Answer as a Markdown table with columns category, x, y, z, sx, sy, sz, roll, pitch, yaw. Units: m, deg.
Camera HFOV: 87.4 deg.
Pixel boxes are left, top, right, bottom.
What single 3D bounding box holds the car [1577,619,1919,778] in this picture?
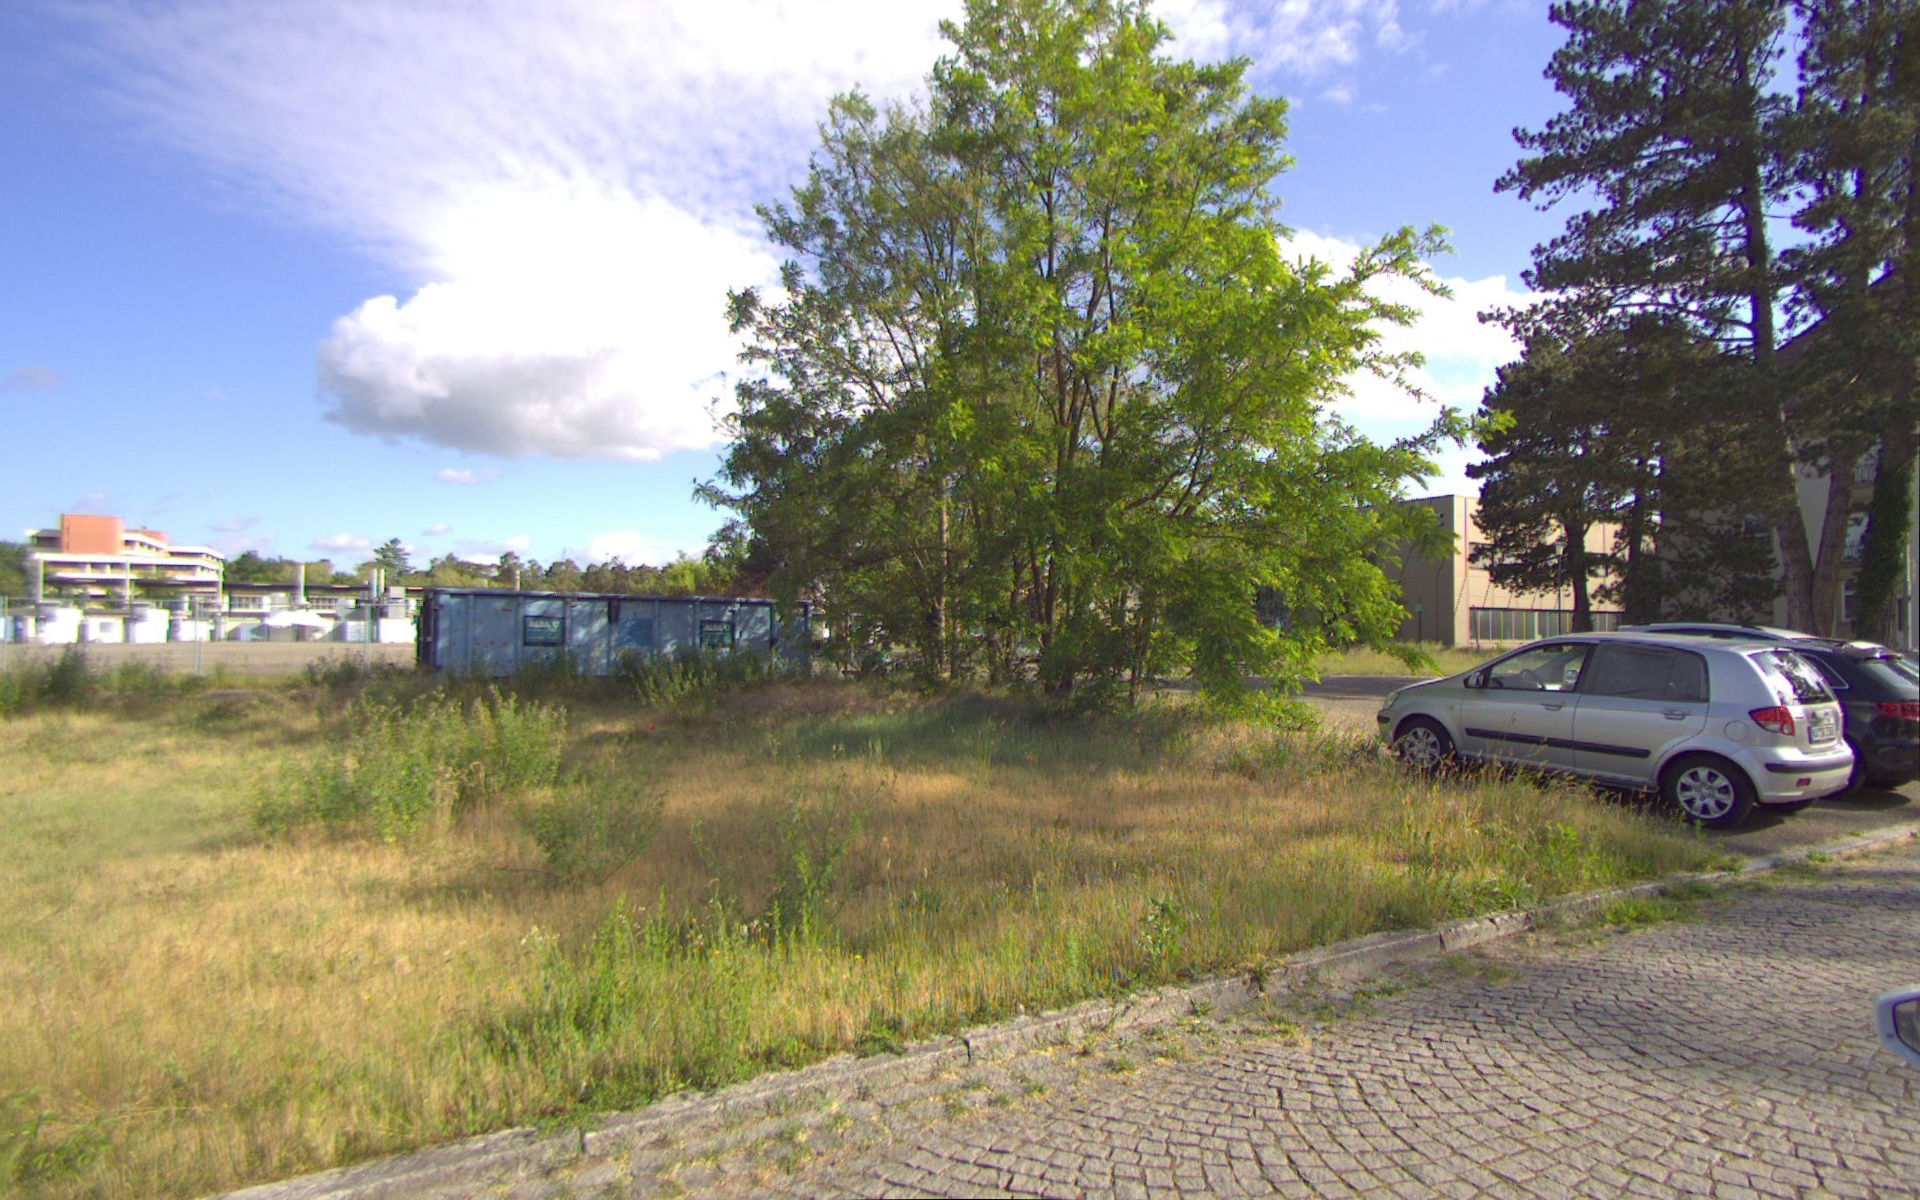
| category | x | y | z | sx | sy | sz | roll | pitch | yaw |
| --- | --- | --- | --- | --- | --- | --- | --- | --- | --- |
| car | 10.411 | 1.111 | 12.698 | 1.865 | 1.614 | 4.057 | 1 | 0 | -32 |

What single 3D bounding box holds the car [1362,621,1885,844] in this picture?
| category | x | y | z | sx | sy | sz | roll | pitch | yaw |
| --- | --- | --- | --- | --- | --- | --- | --- | --- | --- |
| car | 5.885 | 1.013 | 9.356 | 1.628 | 1.507 | 3.725 | 1 | 0 | -32 |

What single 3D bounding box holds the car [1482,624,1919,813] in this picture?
| category | x | y | z | sx | sy | sz | roll | pitch | yaw |
| --- | --- | --- | --- | --- | --- | --- | --- | --- | --- |
| car | 8.041 | 1.079 | 10.799 | 1.783 | 1.500 | 3.964 | 1 | 0 | -32 |

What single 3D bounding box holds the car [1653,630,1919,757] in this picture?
| category | x | y | z | sx | sy | sz | roll | pitch | yaw |
| --- | --- | --- | --- | --- | --- | --- | --- | --- | --- |
| car | 12.422 | 1.243 | 13.895 | 1.810 | 1.488 | 4.309 | 1 | 0 | -32 |
